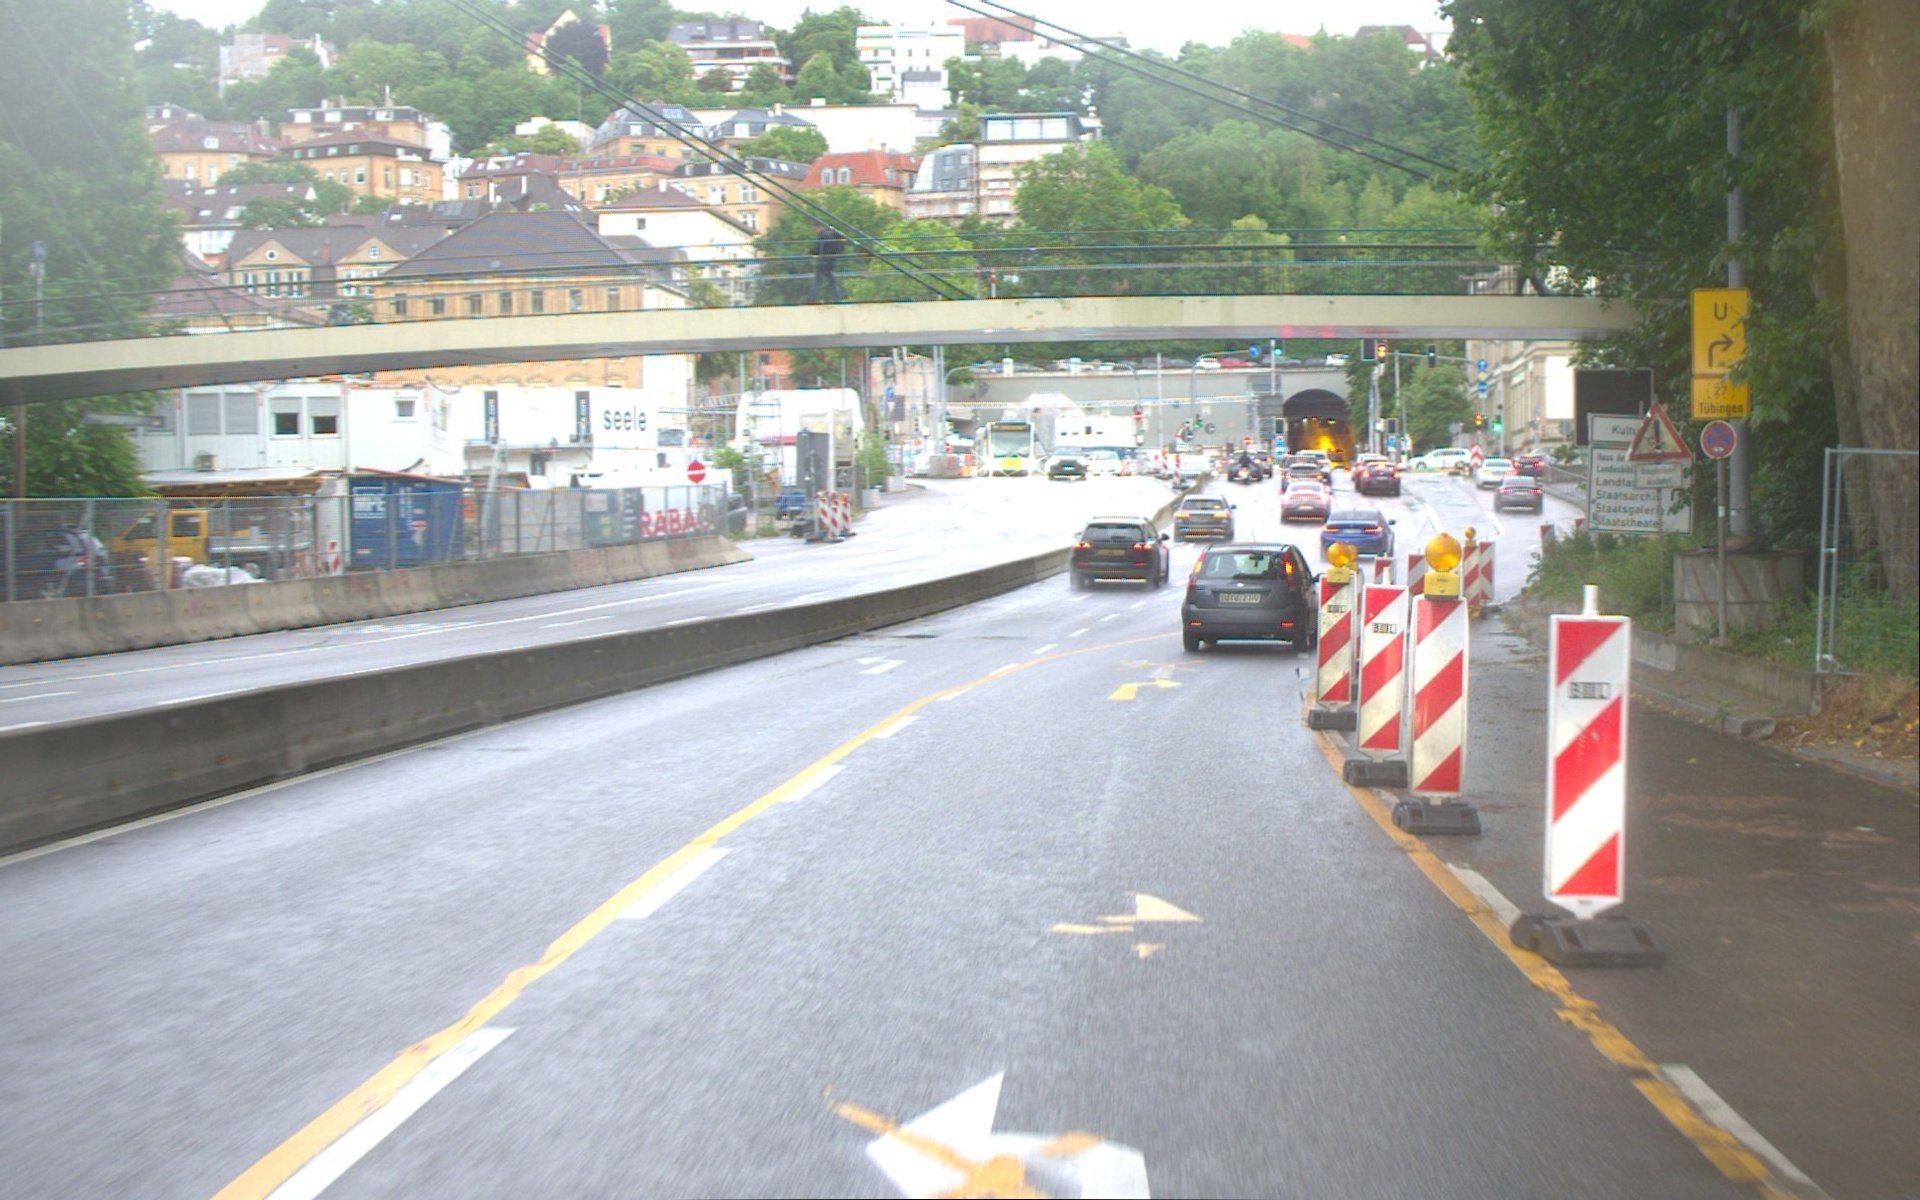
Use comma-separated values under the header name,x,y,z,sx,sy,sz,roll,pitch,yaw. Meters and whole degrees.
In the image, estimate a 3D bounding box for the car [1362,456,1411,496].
name,x,y,z,sx,sy,sz,roll,pitch,yaw
car,19.534,-5.665,157.566,1.994,1.693,4.000,-1,1,4

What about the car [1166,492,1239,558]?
name,x,y,z,sx,sy,sz,roll,pitch,yaw
car,7.758,-2.379,109.859,1.994,2.007,3.999,-1,1,8

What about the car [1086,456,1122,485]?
name,x,y,z,sx,sy,sz,roll,pitch,yaw
car,8.114,-7.252,193.021,1.709,1.484,3.450,-1,1,7

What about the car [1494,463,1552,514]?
name,x,y,z,sx,sy,sz,roll,pitch,yaw
car,22.524,-4.488,137.673,1.994,2.006,4.000,0,2,5

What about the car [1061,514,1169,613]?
name,x,y,z,sx,sy,sz,roll,pitch,yaw
car,3.319,-0.779,72.813,2.017,2.007,3.999,-1,1,6

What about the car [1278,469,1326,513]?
name,x,y,z,sx,sy,sz,roll,pitch,yaw
car,15.352,-4.894,154.575,1.994,1.863,4.000,-1,1,4

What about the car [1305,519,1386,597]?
name,x,y,z,sx,sy,sz,roll,pitch,yaw
car,10.603,-1.163,94.762,2.105,2.043,3.999,-1,1,6

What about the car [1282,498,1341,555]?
name,x,y,z,sx,sy,sz,roll,pitch,yaw
car,12.983,-2.707,127.066,2.052,2.007,3.999,-1,1,5

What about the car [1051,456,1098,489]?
name,x,y,z,sx,sy,sz,roll,pitch,yaw
car,5.850,-6.498,175.010,2.082,1.625,4.852,-1,2,5

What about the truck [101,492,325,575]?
name,x,y,z,sx,sy,sz,roll,pitch,yaw
truck,-19.300,-1.734,88.964,5.247,2.006,2.164,-1,2,2

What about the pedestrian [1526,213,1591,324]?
name,x,y,z,sx,sy,sz,roll,pitch,yaw
pedestrian,11.808,-6.527,67.760,1.148,2.053,1.059,-1,1,14

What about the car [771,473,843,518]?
name,x,y,z,sx,sy,sz,roll,pitch,yaw
car,-5.966,-4.082,134.474,1.994,1.616,3.999,0,3,10

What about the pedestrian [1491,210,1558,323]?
name,x,y,z,sx,sy,sz,roll,pitch,yaw
pedestrian,10.989,-6.481,66.897,1.148,2.053,1.059,-1,1,14

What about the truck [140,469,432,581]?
name,x,y,z,sx,sy,sz,roll,pitch,yaw
truck,-15.727,-1.743,80.533,6.276,2.444,2.694,-1,1,-1

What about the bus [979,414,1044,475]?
name,x,y,z,sx,sy,sz,roll,pitch,yaw
bus,2.869,-8.477,188.461,2.807,3.173,8.806,-1,2,6

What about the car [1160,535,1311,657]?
name,x,y,z,sx,sy,sz,roll,pitch,yaw
car,3.761,-0.087,46.428,1.812,1.521,3.999,-1,1,7

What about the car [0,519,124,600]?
name,x,y,z,sx,sy,sz,roll,pitch,yaw
car,-19.743,-0.822,71.163,4.422,1.622,1.959,-1,1,-3

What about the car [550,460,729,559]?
name,x,y,z,sx,sy,sz,roll,pitch,yaw
car,-9.582,-2.724,103.349,1.997,2.865,6.041,-1,1,33

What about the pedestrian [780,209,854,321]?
name,x,y,z,sx,sy,sz,roll,pitch,yaw
pedestrian,-2.780,-6.537,67.125,1.148,2.053,1.059,-1,1,14

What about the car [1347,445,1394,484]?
name,x,y,z,sx,sy,sz,roll,pitch,yaw
car,19.531,-6.453,163.762,1.994,1.693,4.000,-1,1,4
